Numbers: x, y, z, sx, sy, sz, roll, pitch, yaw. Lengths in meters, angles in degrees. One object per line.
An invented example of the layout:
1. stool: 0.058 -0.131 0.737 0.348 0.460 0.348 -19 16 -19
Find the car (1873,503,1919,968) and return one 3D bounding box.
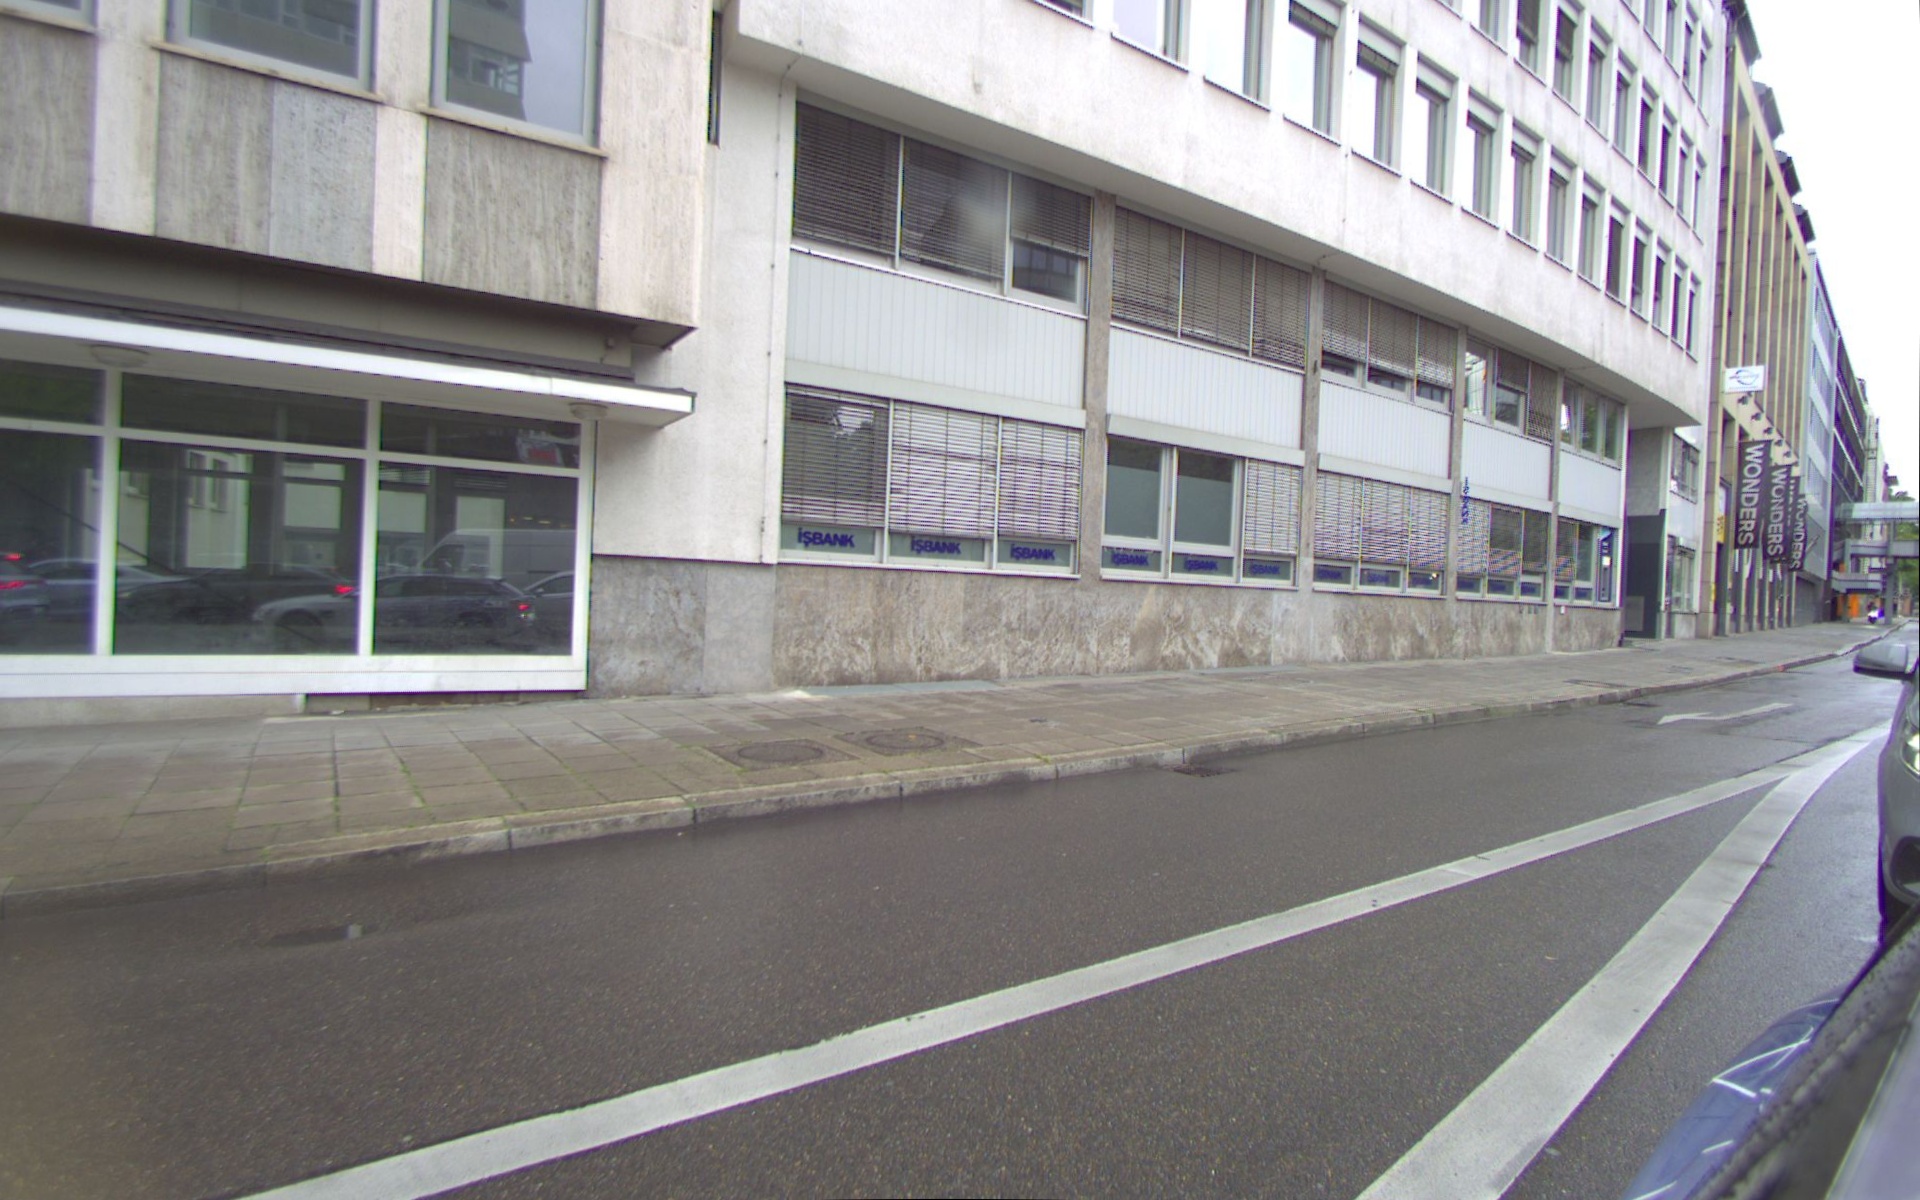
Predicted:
1. car: 6.247 0.561 5.137 4.940 1.879 1.914 0 0 -42
